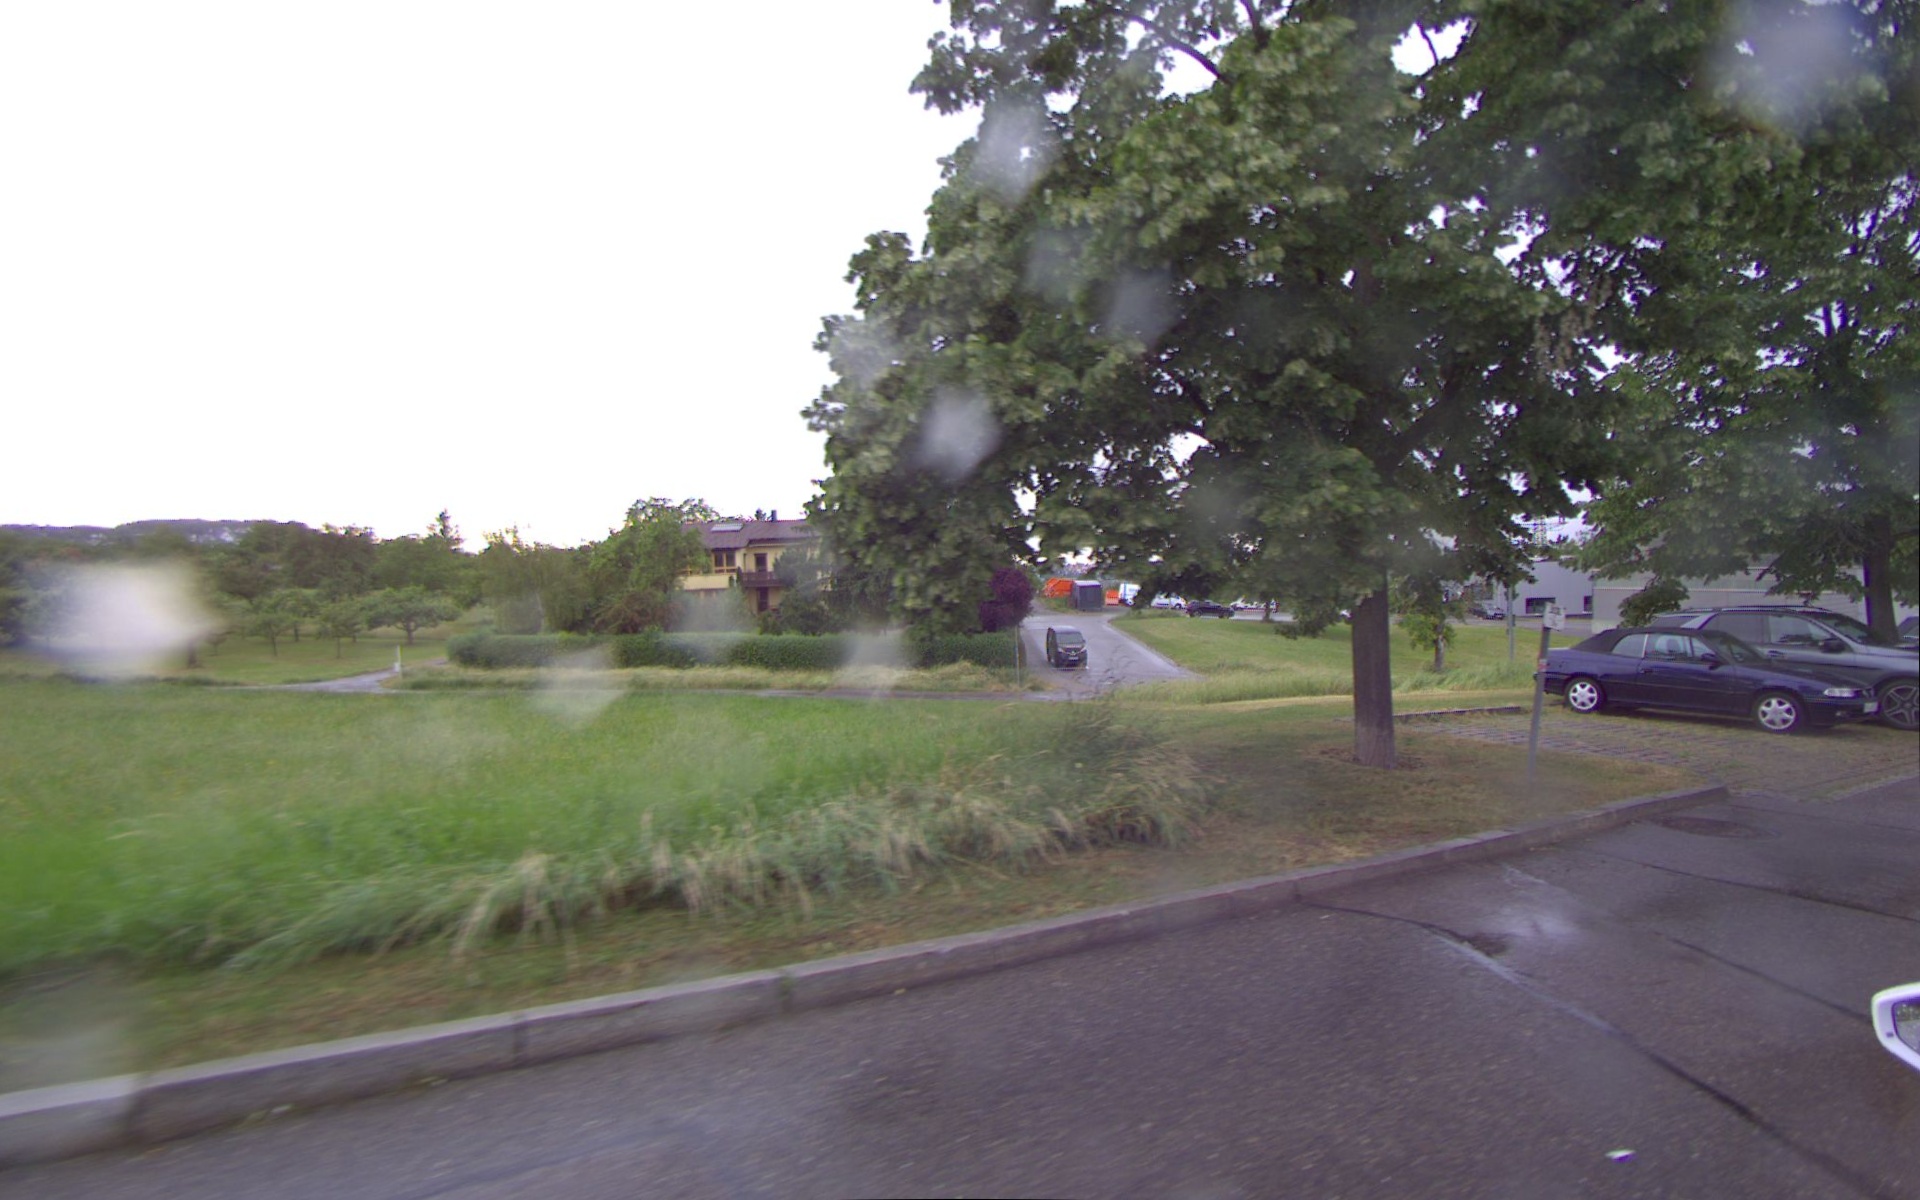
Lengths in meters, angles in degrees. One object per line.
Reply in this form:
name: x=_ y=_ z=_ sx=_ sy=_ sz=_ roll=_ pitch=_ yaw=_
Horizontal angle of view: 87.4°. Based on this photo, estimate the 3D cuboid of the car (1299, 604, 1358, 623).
car: x=33.099 y=1.228 z=90.306 sx=4.527 sy=1.670 sz=2.292 roll=0 pitch=-2 yaw=1

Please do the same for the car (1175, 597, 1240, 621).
car: x=22.390 y=0.816 z=91.002 sx=5.314 sy=2.000 sz=2.292 roll=1 pitch=-2 yaw=1

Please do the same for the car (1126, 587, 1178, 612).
car: x=21.262 y=0.008 z=111.246 sx=5.327 sy=2.604 sz=1.999 roll=2 pitch=-1 yaw=-4

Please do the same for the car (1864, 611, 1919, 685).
car: x=22.649 y=1.157 z=21.450 sx=1.782 sy=1.611 sz=4.602 roll=2 pitch=1 yaw=-25

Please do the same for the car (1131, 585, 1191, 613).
car: x=21.071 y=-0.098 z=105.400 sx=5.702 sy=2.738 sz=1.998 roll=1 pitch=1 yaw=-5

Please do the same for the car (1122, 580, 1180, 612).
car: x=21.642 y=-0.468 z=113.908 sx=6.175 sy=3.475 sz=2.001 roll=1 pitch=-1 yaw=2

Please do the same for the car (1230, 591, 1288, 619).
car: x=37.444 y=0.603 z=125.869 sx=6.596 sy=3.470 sz=2.545 roll=0 pitch=-2 yaw=2

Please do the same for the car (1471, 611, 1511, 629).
car: x=52.539 y=1.966 z=99.450 sx=1.960 sy=1.639 sz=4.001 roll=1 pitch=0 yaw=3

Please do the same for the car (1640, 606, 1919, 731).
car: x=13.673 y=1.004 z=15.924 sx=2.020 sy=1.744 sz=4.347 roll=2 pitch=-1 yaw=-29

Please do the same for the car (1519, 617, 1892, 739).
car: x=11.085 y=1.063 z=15.246 sx=1.755 sy=1.450 sz=4.187 roll=2 pitch=0 yaw=-33

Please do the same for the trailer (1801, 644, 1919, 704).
trailer: x=18.352 y=1.421 z=18.523 sx=1.975 sy=0.974 sz=3.925 roll=1 pitch=1 yaw=-28

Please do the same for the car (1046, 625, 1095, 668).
car: x=5.942 y=2.489 z=54.512 sx=1.893 sy=2.249 sz=4.501 roll=0 pitch=-2 yaw=-4

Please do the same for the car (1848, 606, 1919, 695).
car: x=20.626 y=1.092 z=19.890 sx=1.998 sy=1.745 sz=4.062 roll=2 pitch=1 yaw=-24

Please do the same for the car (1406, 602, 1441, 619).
car: x=46.107 y=1.009 z=100.072 sx=1.775 sy=1.639 sz=4.001 roll=1 pitch=0 yaw=3
